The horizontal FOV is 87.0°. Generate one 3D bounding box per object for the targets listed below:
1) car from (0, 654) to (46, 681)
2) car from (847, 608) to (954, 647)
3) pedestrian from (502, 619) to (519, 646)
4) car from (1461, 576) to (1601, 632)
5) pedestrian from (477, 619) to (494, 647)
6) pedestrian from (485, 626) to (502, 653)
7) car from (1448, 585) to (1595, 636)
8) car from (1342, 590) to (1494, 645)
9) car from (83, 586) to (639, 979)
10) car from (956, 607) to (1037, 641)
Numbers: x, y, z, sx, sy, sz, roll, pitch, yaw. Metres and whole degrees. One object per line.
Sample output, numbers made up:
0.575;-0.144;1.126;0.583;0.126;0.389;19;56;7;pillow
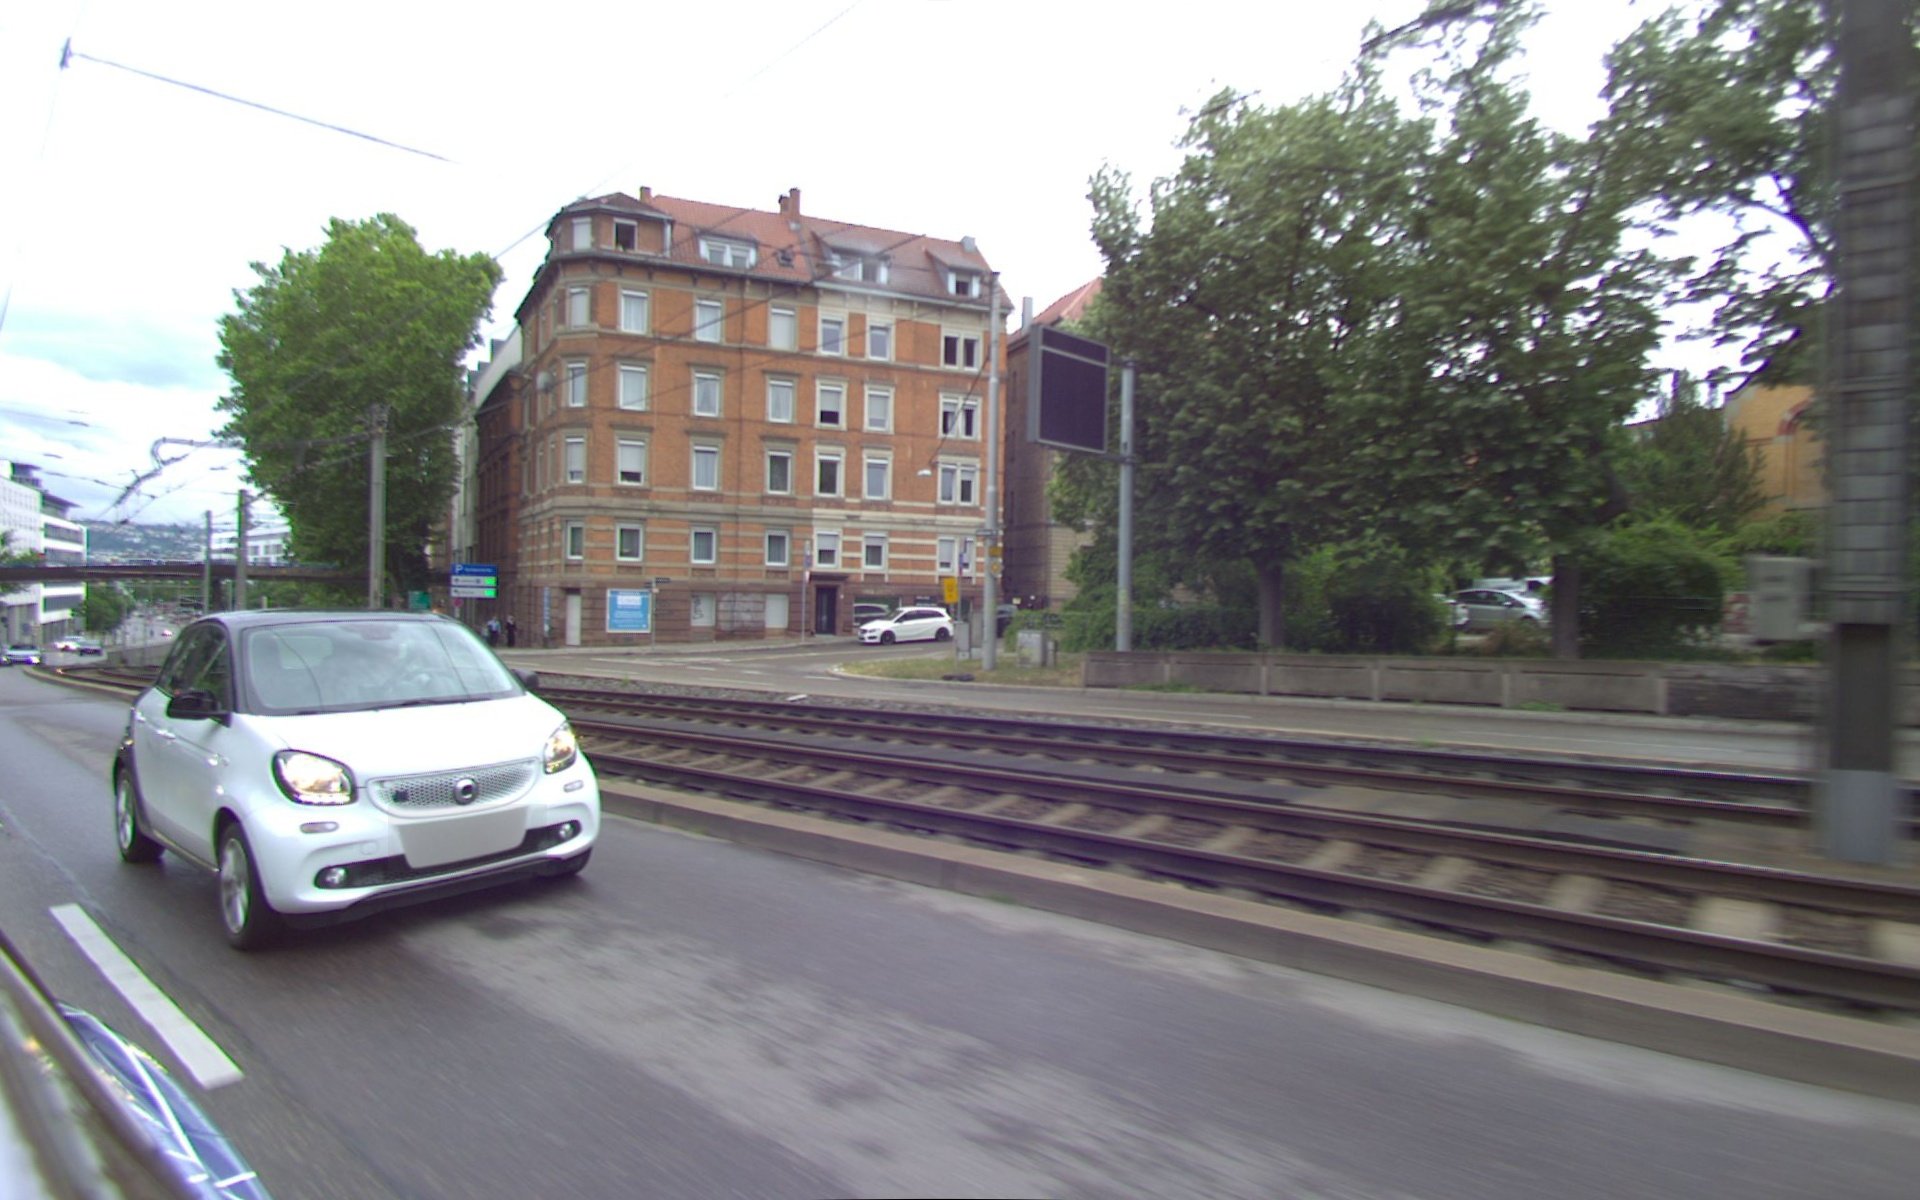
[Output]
-58.662;4.208;63.422;1.709;1.386;4.009;-1;0;-37;car
-2.634;1.176;44.912;4.361;1.610;1.847;-1;-1;-27;car
-22.902;1.661;51.583;0.538;1.364;0.611;0;1;44;pedestrian
20.930;0.181;37.229;1.966;1.922;4.012;0;-1;-29;car
-23.767;1.638;50.691;0.538;1.364;0.612;-1;0;41;pedestrian
-23.771;2.000;51.572;0.538;1.364;0.612;-1;0;41;pedestrian
19.522;0.359;35.358;1.966;1.634;4.012;-1;0;-30;car
14.610;0.538;32.495;1.966;1.634;4.012;-1;0;-30;car
-3.614;0.754;5.829;3.719;1.542;1.659;-2;-1;41;car
1.681;1.113;46.954;3.328;1.477;1.662;-1;-1;-26;car
